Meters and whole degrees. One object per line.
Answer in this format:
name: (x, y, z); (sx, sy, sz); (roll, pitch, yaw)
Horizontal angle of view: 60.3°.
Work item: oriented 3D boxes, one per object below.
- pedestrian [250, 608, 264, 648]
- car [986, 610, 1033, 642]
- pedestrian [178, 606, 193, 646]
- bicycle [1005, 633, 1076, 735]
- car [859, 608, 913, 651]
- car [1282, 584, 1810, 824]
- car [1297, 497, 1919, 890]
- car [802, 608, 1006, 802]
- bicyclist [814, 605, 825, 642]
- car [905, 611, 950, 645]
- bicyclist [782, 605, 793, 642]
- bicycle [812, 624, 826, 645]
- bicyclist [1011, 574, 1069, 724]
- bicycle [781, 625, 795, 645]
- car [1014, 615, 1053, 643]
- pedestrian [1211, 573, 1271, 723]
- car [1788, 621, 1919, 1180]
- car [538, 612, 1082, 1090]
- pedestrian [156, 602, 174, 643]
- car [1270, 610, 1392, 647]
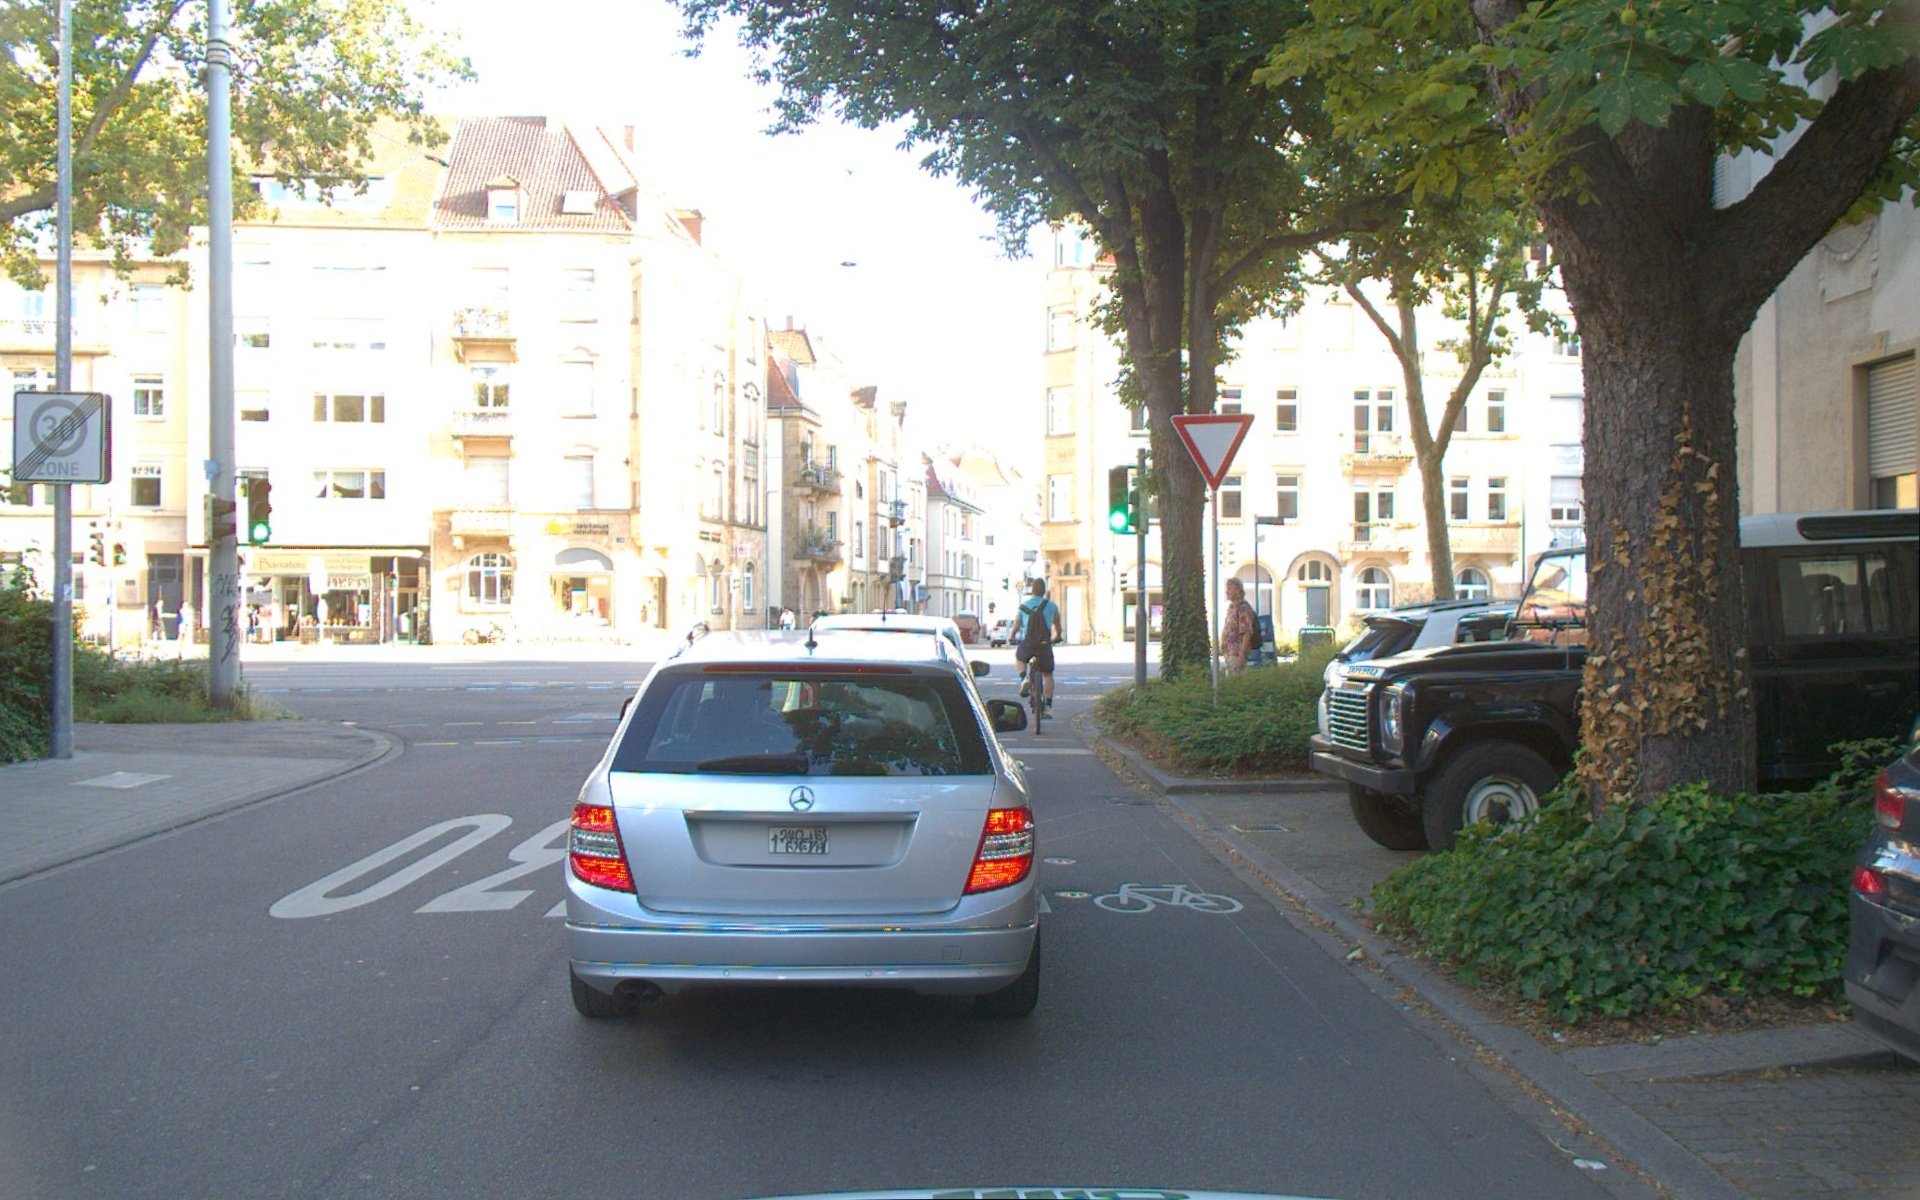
pedestrian: (-26.961, 1.078, 63.456); (0.466, 1.537, 0.428); (0, 0, -21)
car: (2.580, 1.328, 85.511); (1.684, 1.504, 4.004); (-2, 0, 12)
pedestrian: (-29.456, 0.987, 62.888); (0.502, 1.537, 0.532); (0, 0, -26)
bicycle: (0.973, 1.007, 20.381); (0.727, 1.137, 2.013); (1, 0, -1)
car: (-3.499, 1.403, 79.244); (1.896, 1.993, 4.153); (0, 0, 7)
car: (4.403, 0.733, 12.717); (3.415, 1.614, 1.708); (-1, 0, -7)
car: (4.434, 0.468, 9.824); (4.402, 1.990, 1.791); (-2, 0, -4)
car: (-0.481, 0.789, 14.075); (1.502, 1.415, 3.597); (0, 0, -2)
bicyclist: (-6.077, 1.011, 71.481); (0.457, 1.547, 0.693); (0, 0, -4)
car: (-1.713, 1.478, 87.987); (1.650, 1.753, 4.003); (0, 0, 10)
bicyclist: (-7.393, 1.006, 71.009); (0.457, 1.541, 0.655); (0, 0, -4)
bicycle: (-6.096, 1.491, 71.510); (0.557, 0.849, 1.564); (0, 0, -4)
bicyclist: (0.983, 0.597, 20.382); (0.633, 1.806, 0.830); (1, -1, -1)
bicycle: (-7.372, 1.498, 70.911); (0.557, 0.849, 1.564); (0, 0, -4)
car: (4.554, 1.747, 101.801); (1.684, 1.503, 4.004); (-4, 0, 12)
pedestrian: (3.553, 0.601, 20.948); (0.619, 1.877, 0.574); (0, 0, -5)
car: (4.328, 0.722, 4.149); (3.675, 1.446, 1.627); (-2, -1, -4)
car: (-0.553, 0.800, 6.884); (1.656, 1.454, 3.490); (1, 0, -3)
pedestrian: (-30.070, 0.839, 62.524); (0.557, 1.537, 0.499); (0, 0, -20)
car: (11.038, 0.837, 49.301); (3.296, 1.087, 1.380); (0, 0, -2)
